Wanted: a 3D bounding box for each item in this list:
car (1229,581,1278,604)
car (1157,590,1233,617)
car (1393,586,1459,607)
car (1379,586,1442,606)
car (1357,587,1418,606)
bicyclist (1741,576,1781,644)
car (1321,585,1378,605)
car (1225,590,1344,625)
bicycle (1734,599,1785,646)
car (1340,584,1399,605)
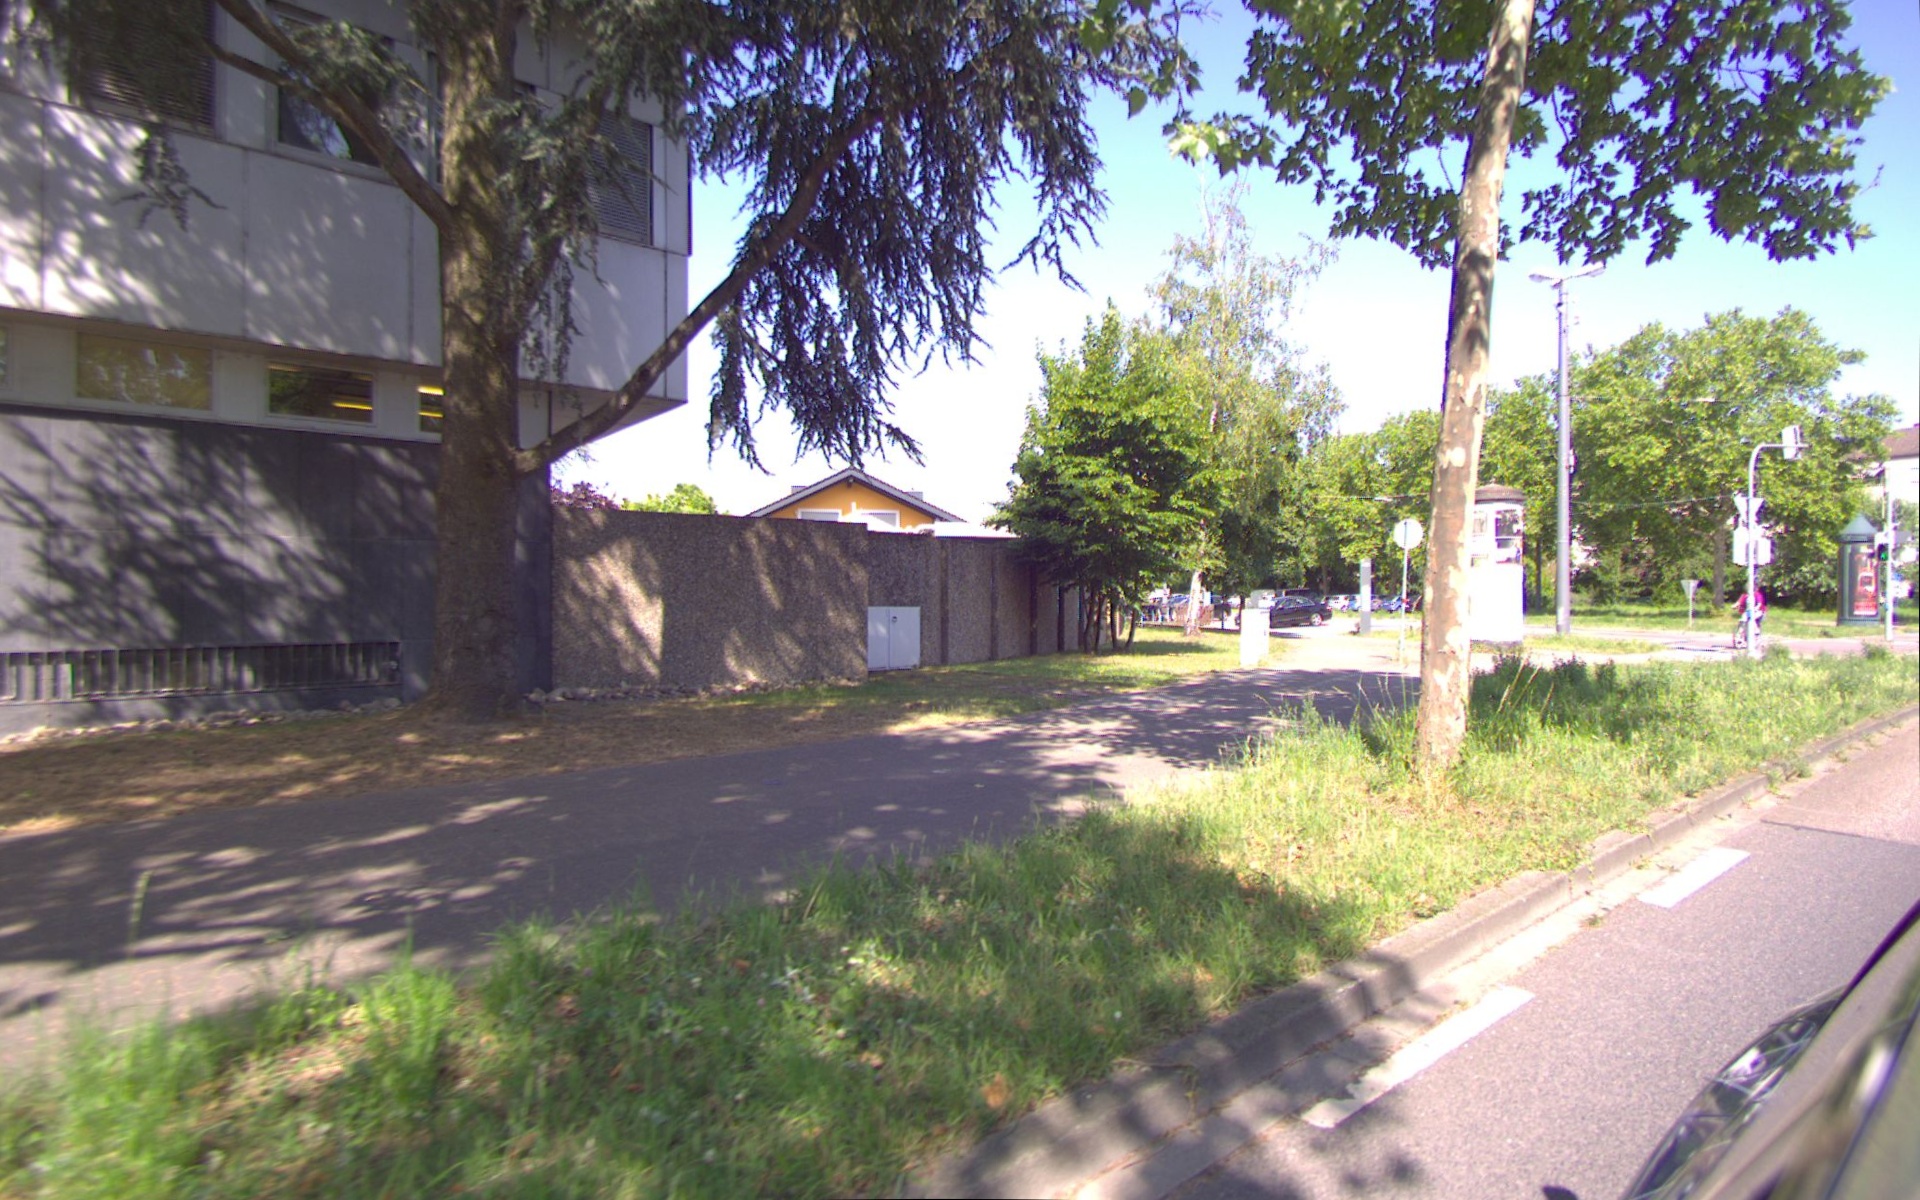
[{"bbox_3d":[29.926,-0.753,103.110,4.493,2.237,2.004,0,0,-19],"label":"car"},{"bbox_3d":[13.622,0.197,58.604,4.129,1.518,2.141,0,0,-38],"label":"car"},{"bbox_3d":[34.870,-0.290,75.717,4.263,1.509,2.004,0,1,-19],"label":"car"},{"bbox_3d":[34.753,-0.303,78.094,4.263,1.509,2.004,0,0,-19],"label":"car"},{"bbox_3d":[34.128,-0.292,80.841,4.263,1.509,2.004,0,0,-19],"label":"car"},{"bbox_3d":[21.690,0.267,27.411,0.796,1.809,0.702,0,0,-40],"label":"bicyclist"},{"bbox_3d":[33.024,-0.454,85.818,4.263,1.653,2.004,0,0,-19],"label":"car"},{"bbox_3d":[15.479,0.311,48.346,5.011,1.517,2.147,-1,1,-16],"label":"car"},{"bbox_3d":[21.653,0.586,27.398,2.088,1.200,0.692,0,0,-41],"label":"bicycle"},{"bbox_3d":[33.649,-0.403,83.207,4.263,1.654,2.004,0,-1,-19],"label":"car"}]
